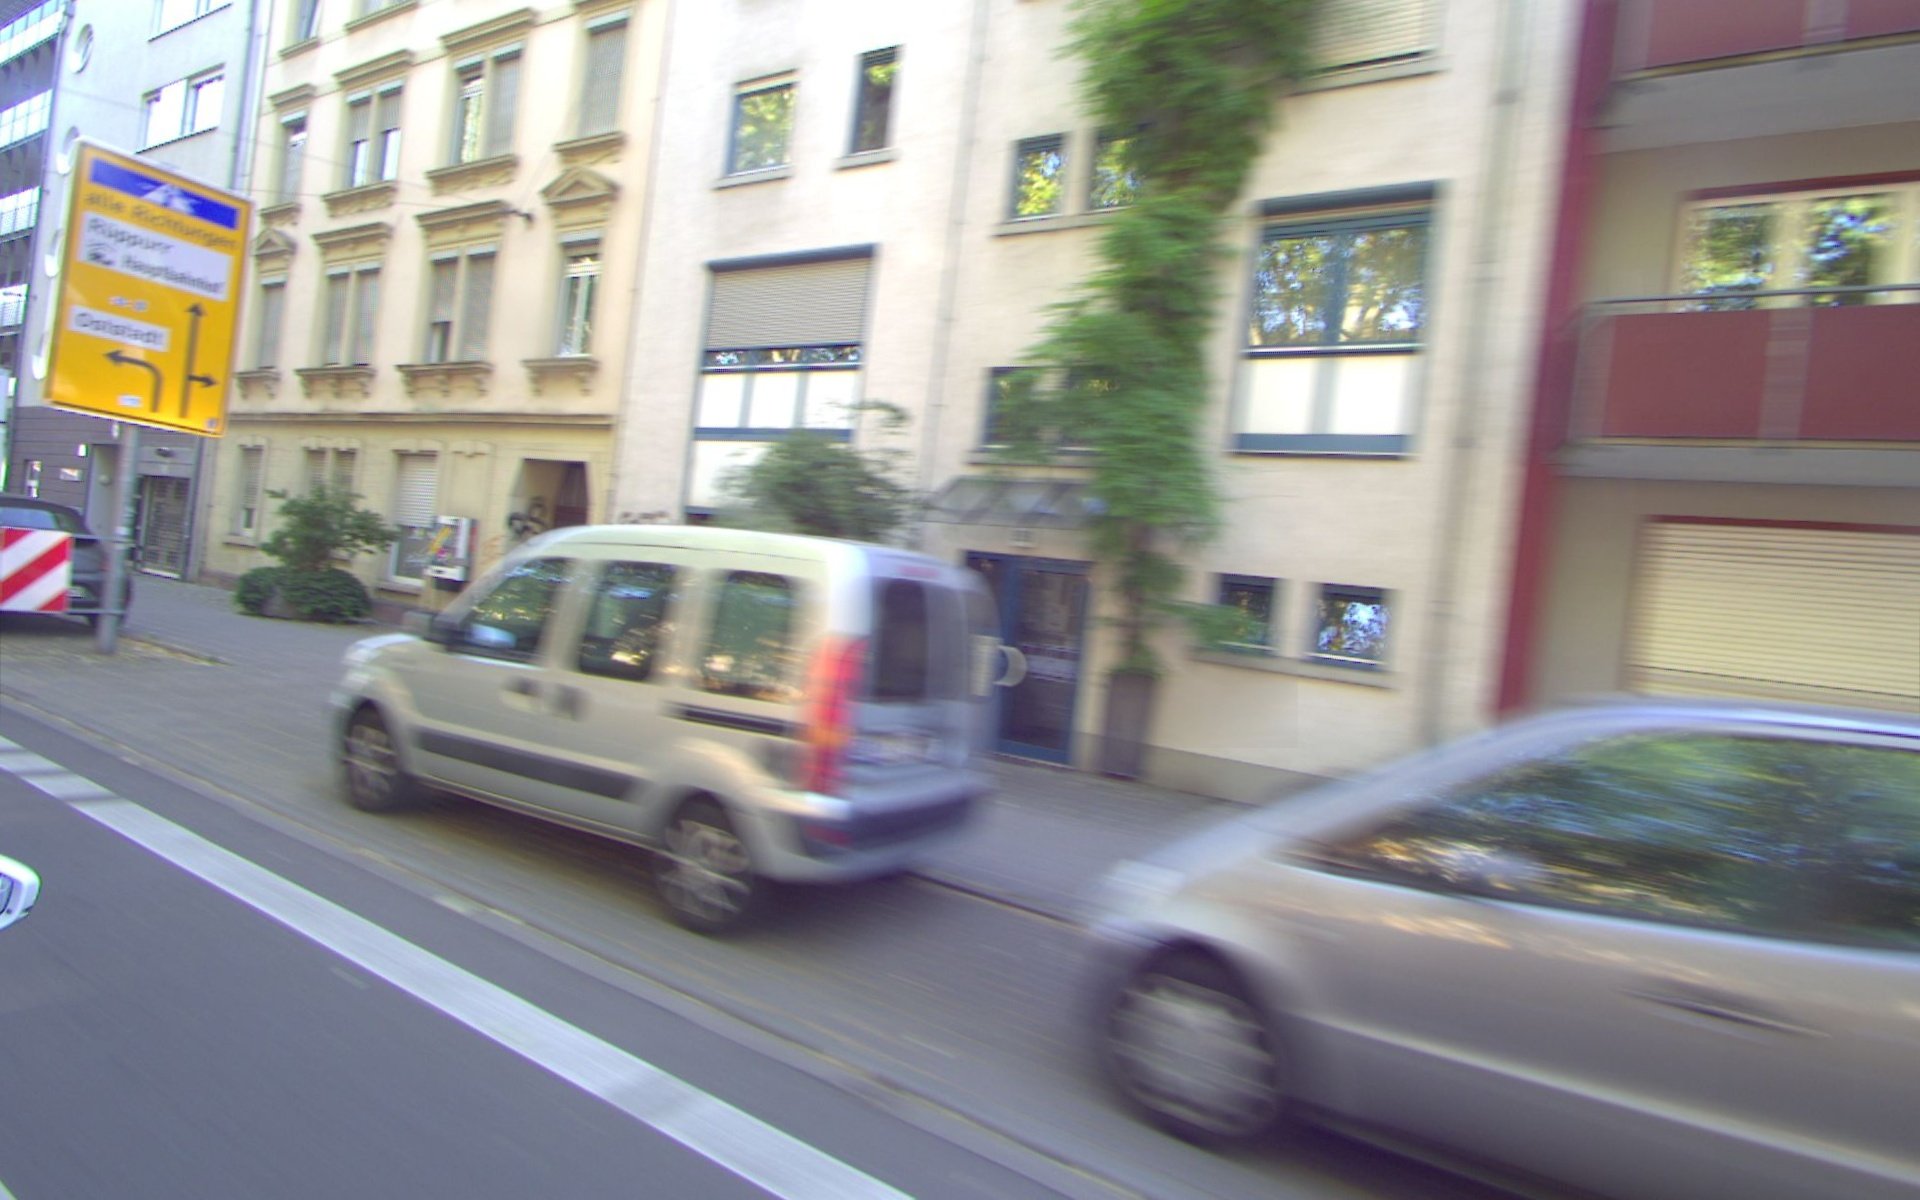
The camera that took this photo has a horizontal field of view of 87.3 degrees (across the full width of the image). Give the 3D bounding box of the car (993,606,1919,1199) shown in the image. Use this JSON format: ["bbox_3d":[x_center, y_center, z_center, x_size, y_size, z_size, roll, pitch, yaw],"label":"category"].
[{"bbox_3d":[2.113,1.045,3.207,3.530,1.600,1.661,7,0,32],"label":"car"}]

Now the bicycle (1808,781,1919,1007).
[{"bbox_3d":[5.854,1.791,6.405,0.469,1.042,1.893,7,1,36],"label":"bicycle"}]

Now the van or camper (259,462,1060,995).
[{"bbox_3d":[-1.772,0.413,5.586,4.137,1.906,1.672,7,1,28],"label":"van or camper"}]

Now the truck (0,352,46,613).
[{"bbox_3d":[-15.971,-1.893,14.278,7.077,3.382,2.539,6,2,32],"label":"truck"}]

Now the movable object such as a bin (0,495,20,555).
[{"bbox_3d":[-25.635,-2.041,26.257,1.569,1.503,1.187,6,1,32],"label":"movable object such as a bin"}]

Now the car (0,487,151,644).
[{"bbox_3d":[-11.201,-0.517,11.459,4.082,1.578,1.732,6,2,31],"label":"car"}]
